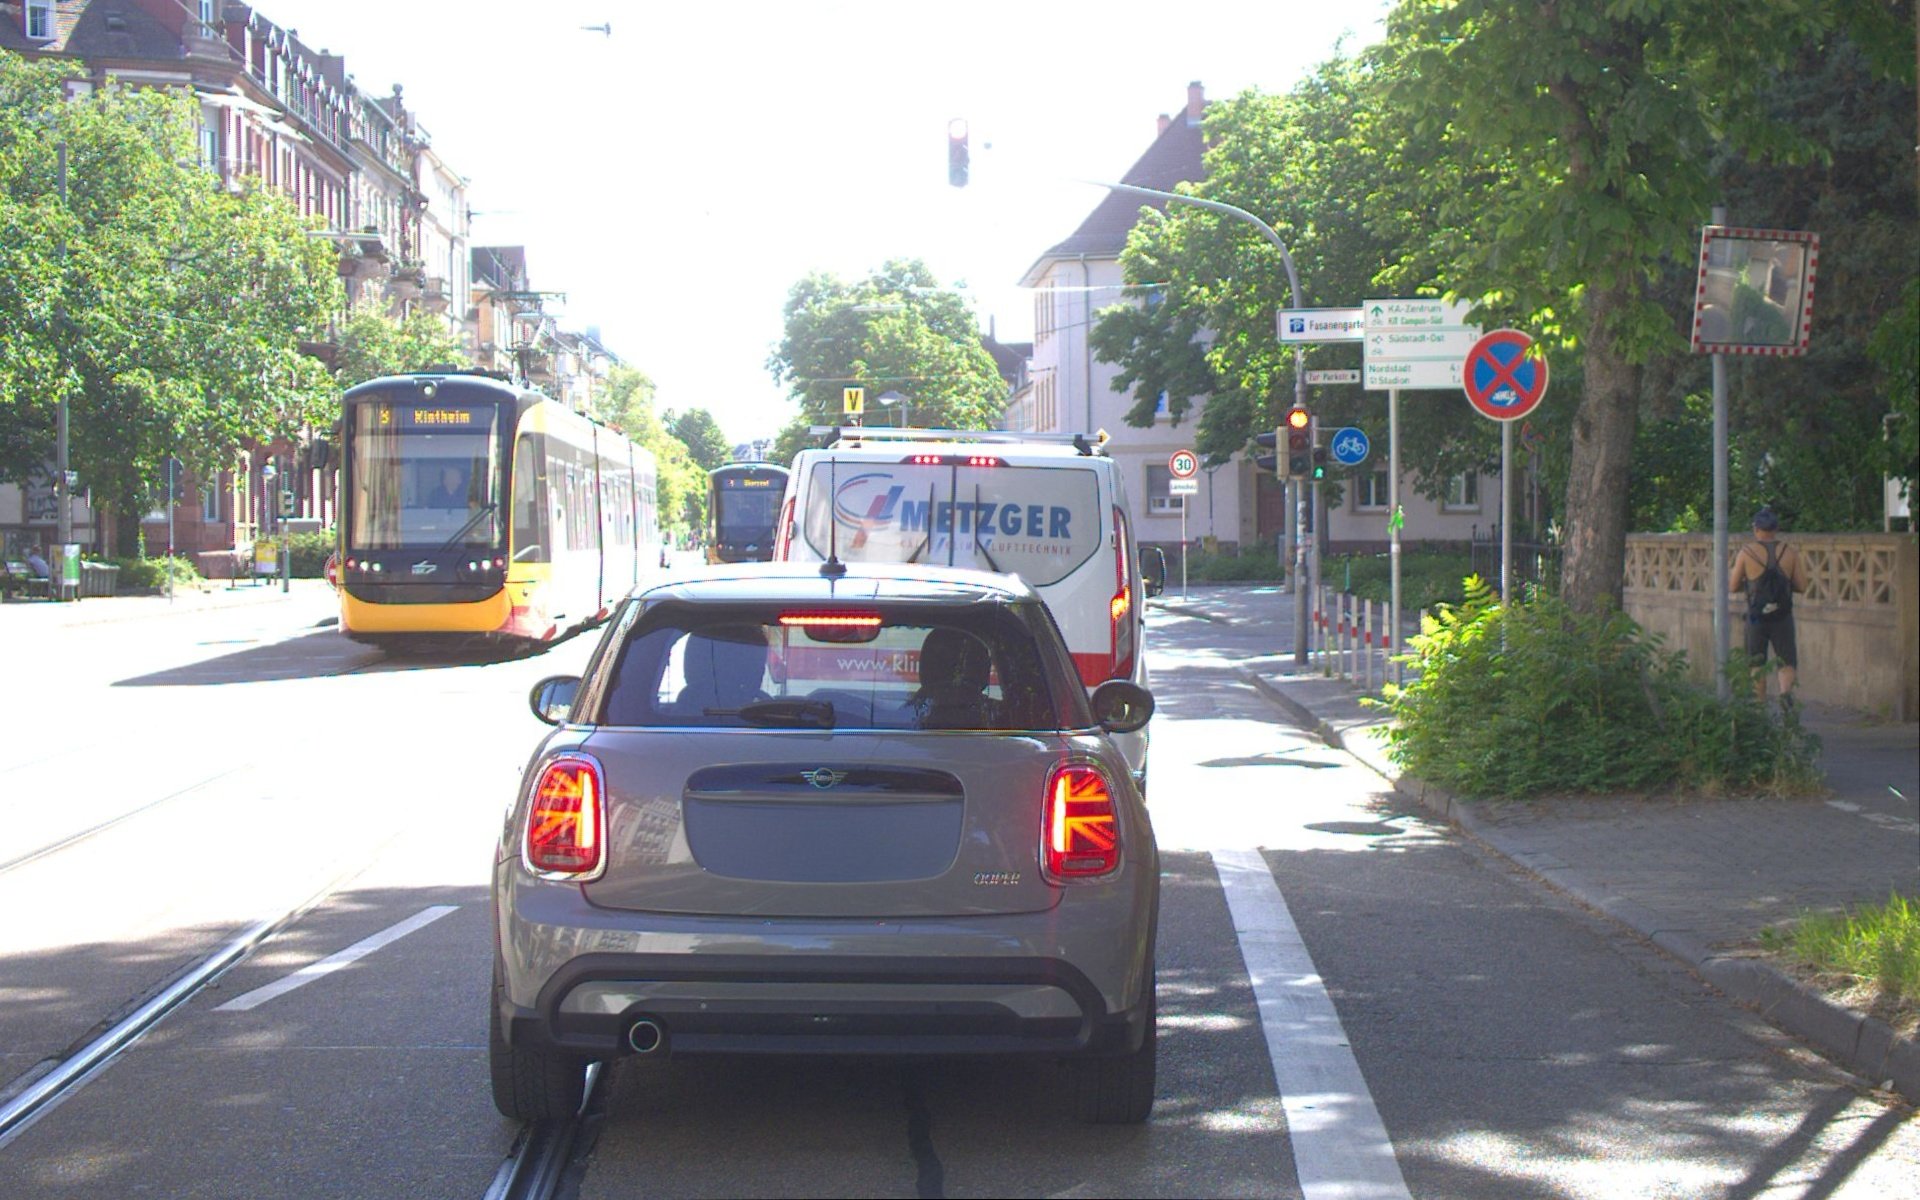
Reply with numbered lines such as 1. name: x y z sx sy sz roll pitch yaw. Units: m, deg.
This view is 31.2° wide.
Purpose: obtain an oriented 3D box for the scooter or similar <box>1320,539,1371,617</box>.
1. scooter or similar: 6.591 -0.377 58.824 0.676 1.305 1.329 1 0 -1

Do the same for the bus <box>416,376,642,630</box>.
1. bus: -6.971 -1.508 57.071 2.859 3.764 11.185 1 1 -3

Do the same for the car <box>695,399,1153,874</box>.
1. car: -0.197 0.146 18.607 2.118 2.200 4.945 1 1 -1

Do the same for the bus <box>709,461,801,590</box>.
1. bus: -5.874 -2.081 97.518 2.385 3.484 7.385 1 1 -5

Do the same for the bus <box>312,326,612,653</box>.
1. bus: -6.378 -1.341 45.774 2.859 3.764 11.499 1 1 -3

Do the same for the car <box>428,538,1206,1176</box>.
1. car: -0.360 0.587 10.109 1.815 1.483 4.000 1 1 -1

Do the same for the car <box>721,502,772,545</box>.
1. car: -8.124 -2.878 130.616 1.863 1.558 4.001 1 1 -4

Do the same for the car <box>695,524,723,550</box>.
1. car: -15.876 -3.958 217.578 1.775 1.612 4.001 1 1 -4

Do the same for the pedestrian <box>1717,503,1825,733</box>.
1. pedestrian: 6.002 0.129 25.454 0.592 1.665 0.647 -2 0 -1

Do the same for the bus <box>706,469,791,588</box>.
1. bus: -6.504 -2.145 104.905 2.385 3.484 7.385 1 1 -5

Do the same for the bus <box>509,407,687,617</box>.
1. bus: -7.064 -1.664 68.588 2.849 3.764 12.199 1 1 -3
